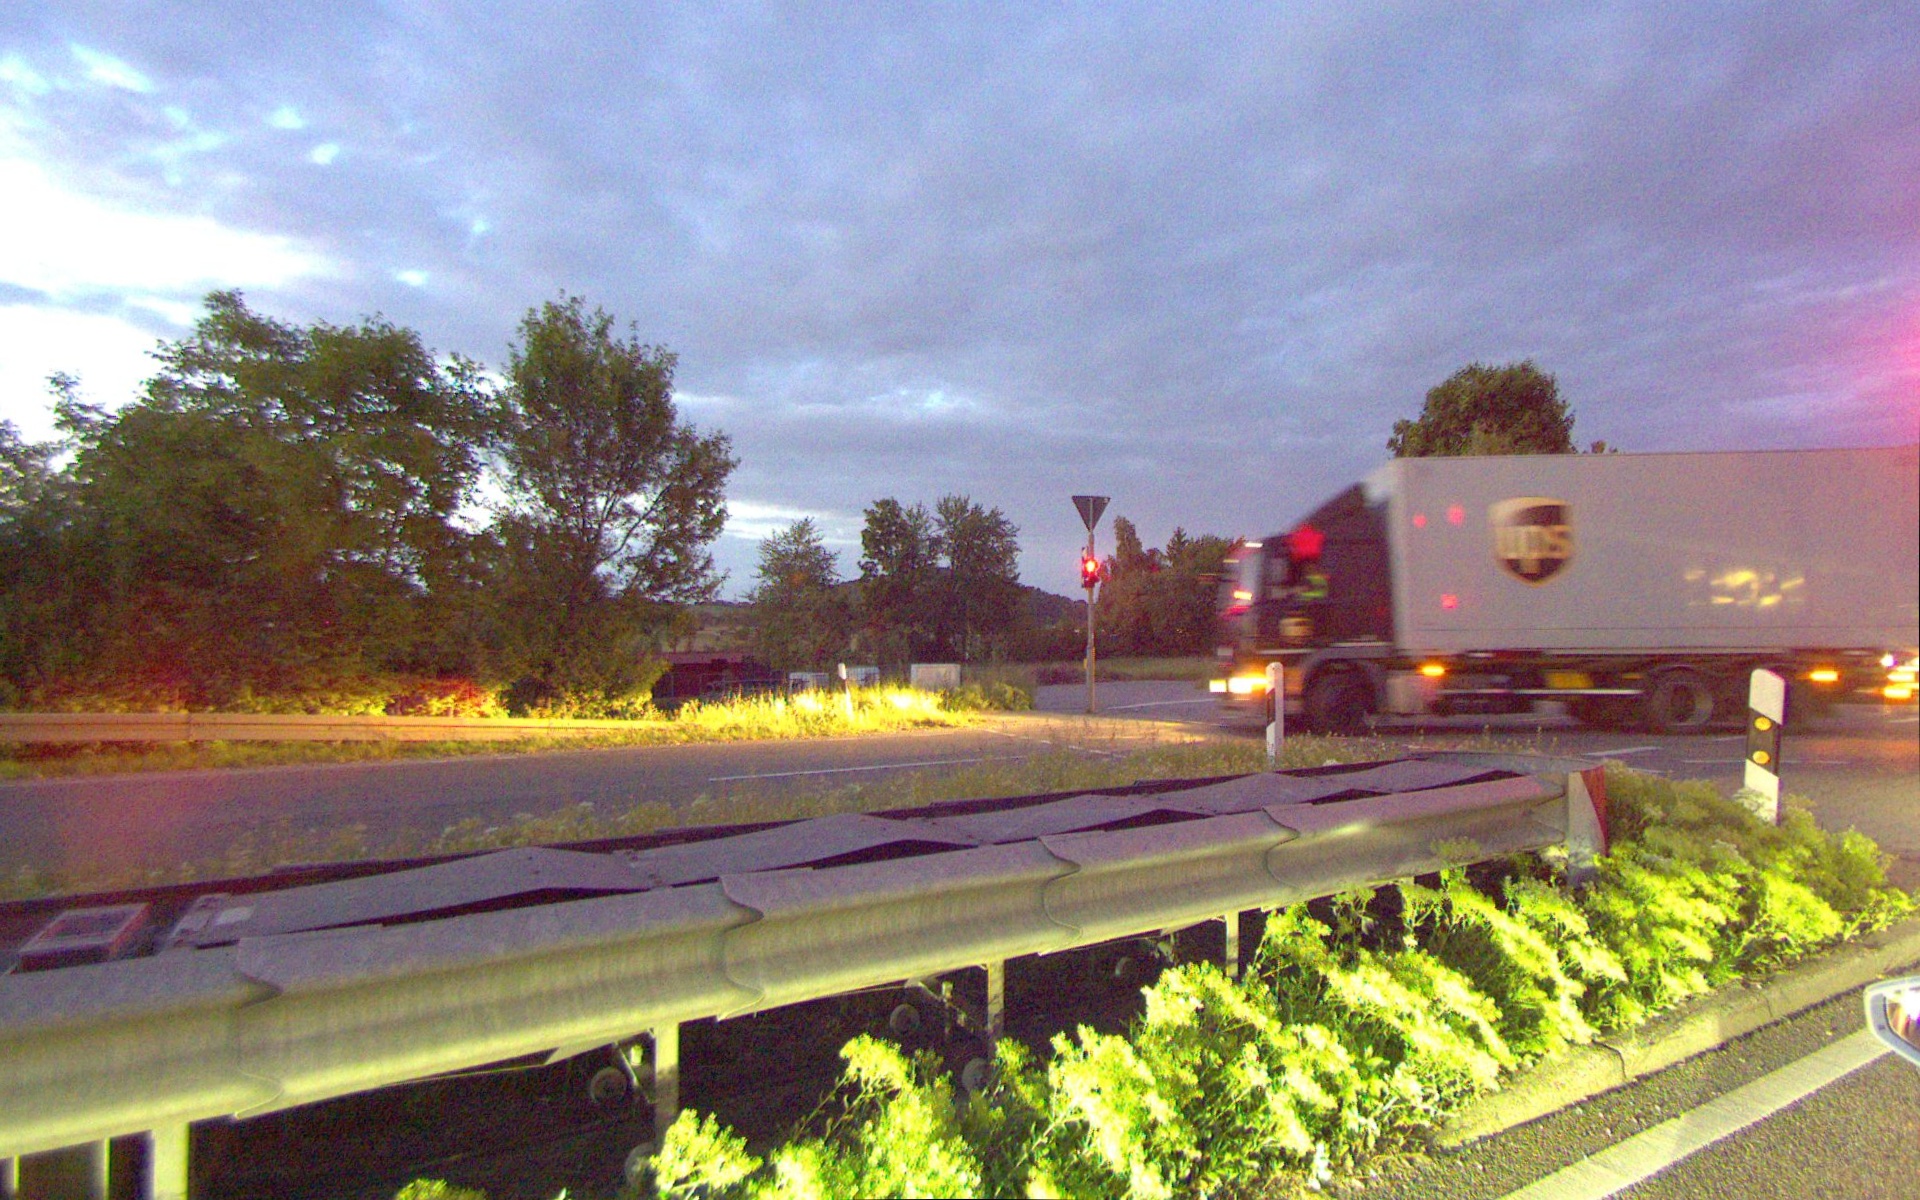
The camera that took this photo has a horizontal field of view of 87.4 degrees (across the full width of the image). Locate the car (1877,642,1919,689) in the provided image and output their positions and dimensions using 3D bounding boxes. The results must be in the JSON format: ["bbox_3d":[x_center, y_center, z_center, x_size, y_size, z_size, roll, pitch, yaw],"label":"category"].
[{"bbox_3d":[30.959,2.076,31.865,3.983,1.403,1.644,2,0,-31],"label":"car"}]

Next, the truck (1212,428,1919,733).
[{"bbox_3d":[9.287,-0.309,15.480,10.136,4.172,2.736,1,-1,6],"label":"truck"}]
